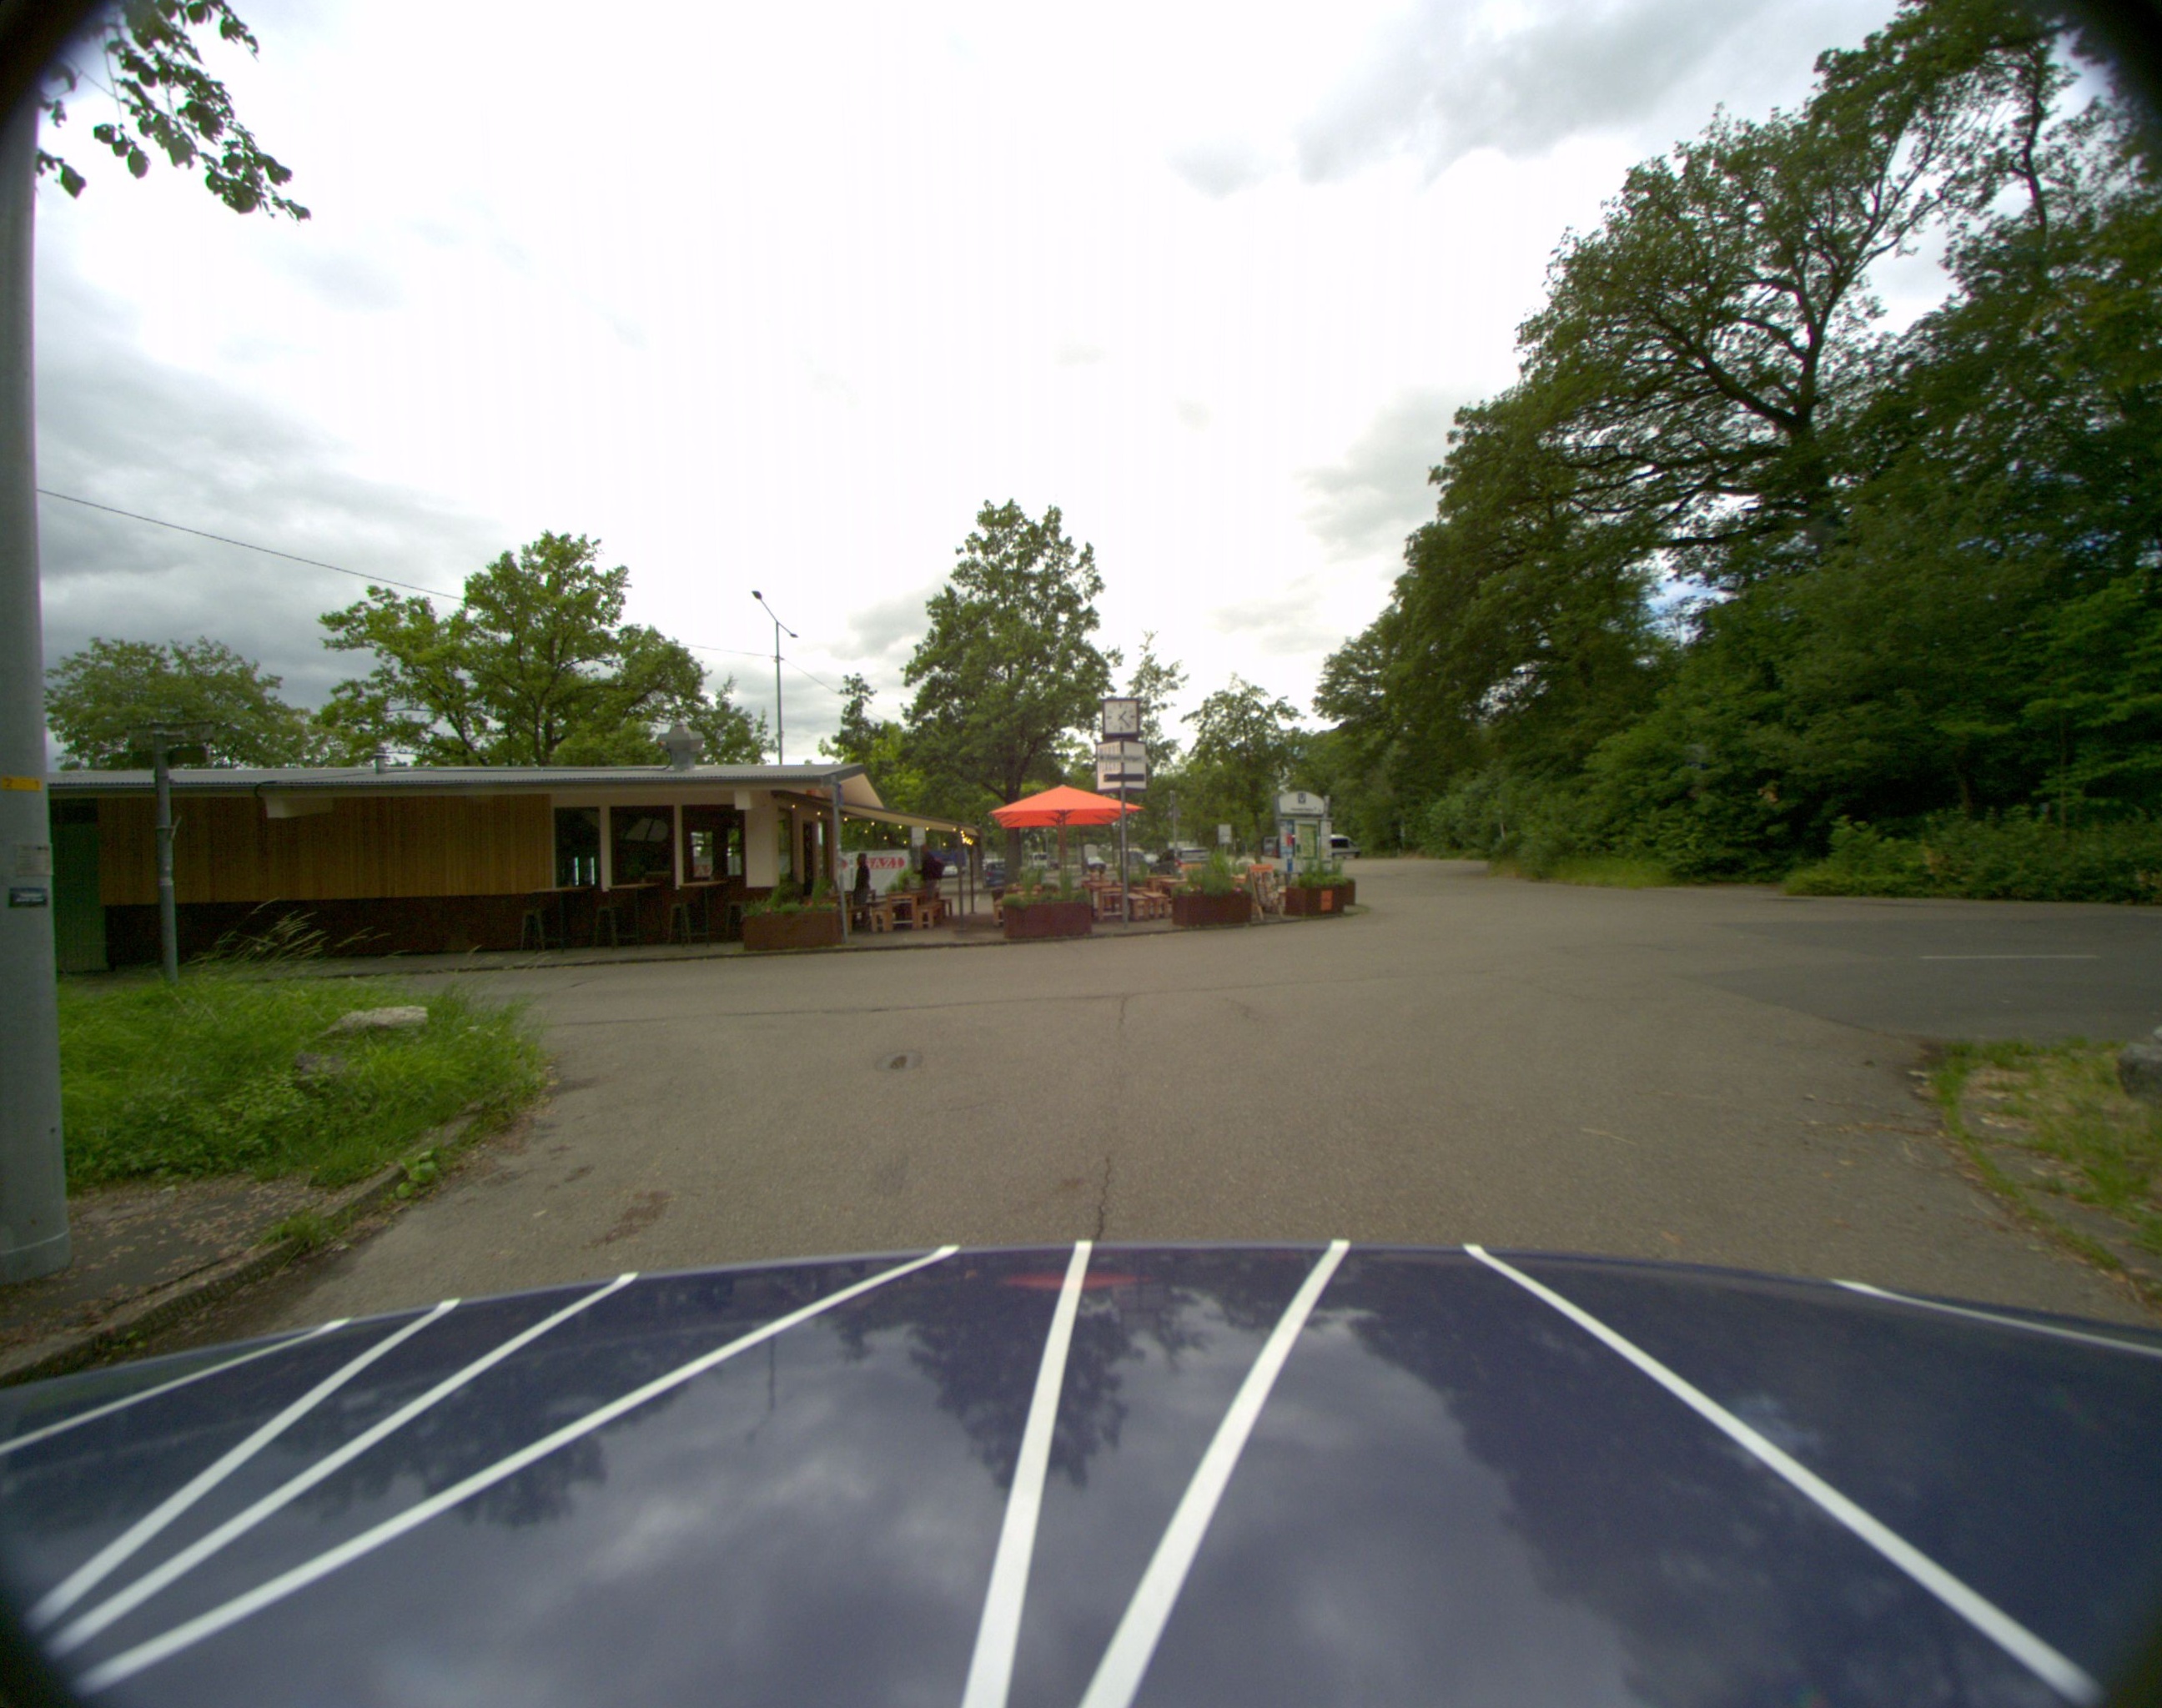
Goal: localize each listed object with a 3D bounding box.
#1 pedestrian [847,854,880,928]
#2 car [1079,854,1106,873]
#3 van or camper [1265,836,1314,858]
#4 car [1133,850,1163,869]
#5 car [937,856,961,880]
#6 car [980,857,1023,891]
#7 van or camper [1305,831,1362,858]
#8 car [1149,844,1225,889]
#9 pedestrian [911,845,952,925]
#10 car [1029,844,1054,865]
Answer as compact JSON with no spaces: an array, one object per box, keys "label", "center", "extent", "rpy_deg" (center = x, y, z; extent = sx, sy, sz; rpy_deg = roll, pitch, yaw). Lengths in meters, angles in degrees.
[{"label":"pedestrian","center":[-5.029,0.837,17.609],"extent":[0.531,1.657,0.595],"rpy_deg":[-2,1,-3]},{"label":"car","center":[1.167,0.921,76.669],"extent":[1.878,1.769,4.292],"rpy_deg":[-2,0,-10]},{"label":"van or camper","center":[30.668,-1.043,111.714],"extent":[7.350,2.833,2.199],"rpy_deg":[-3,1,-29]},{"label":"car","center":[6.764,0.585,77.426],"extent":[1.878,1.769,4.292],"rpy_deg":[-2,0,-10]},{"label":"car","center":[-11.978,1.231,68.971],"extent":[2.000,2.002,3.996],"rpy_deg":[-2,0,-10]},{"label":"car","center":[-4.019,0.955,38.256],"extent":[2.000,1.543,3.997],"rpy_deg":[-2,0,-7]},{"label":"van or camper","center":[29.284,-1.142,87.865],"extent":[7.352,2.833,2.064],"rpy_deg":[-3,1,-33]},{"label":"car","center":[4.368,0.496,31.912],"extent":[1.936,1.660,4.342],"rpy_deg":[-2,0,-9]},{"label":"pedestrian","center":[-3.490,0.713,17.791],"extent":[0.749,1.820,0.710],"rpy_deg":[-2,1,-1]},{"label":"car","center":[-3.992,0.051,76.100],"extent":[1.878,2.027,4.586],"rpy_deg":[-2,0,-10]}]
